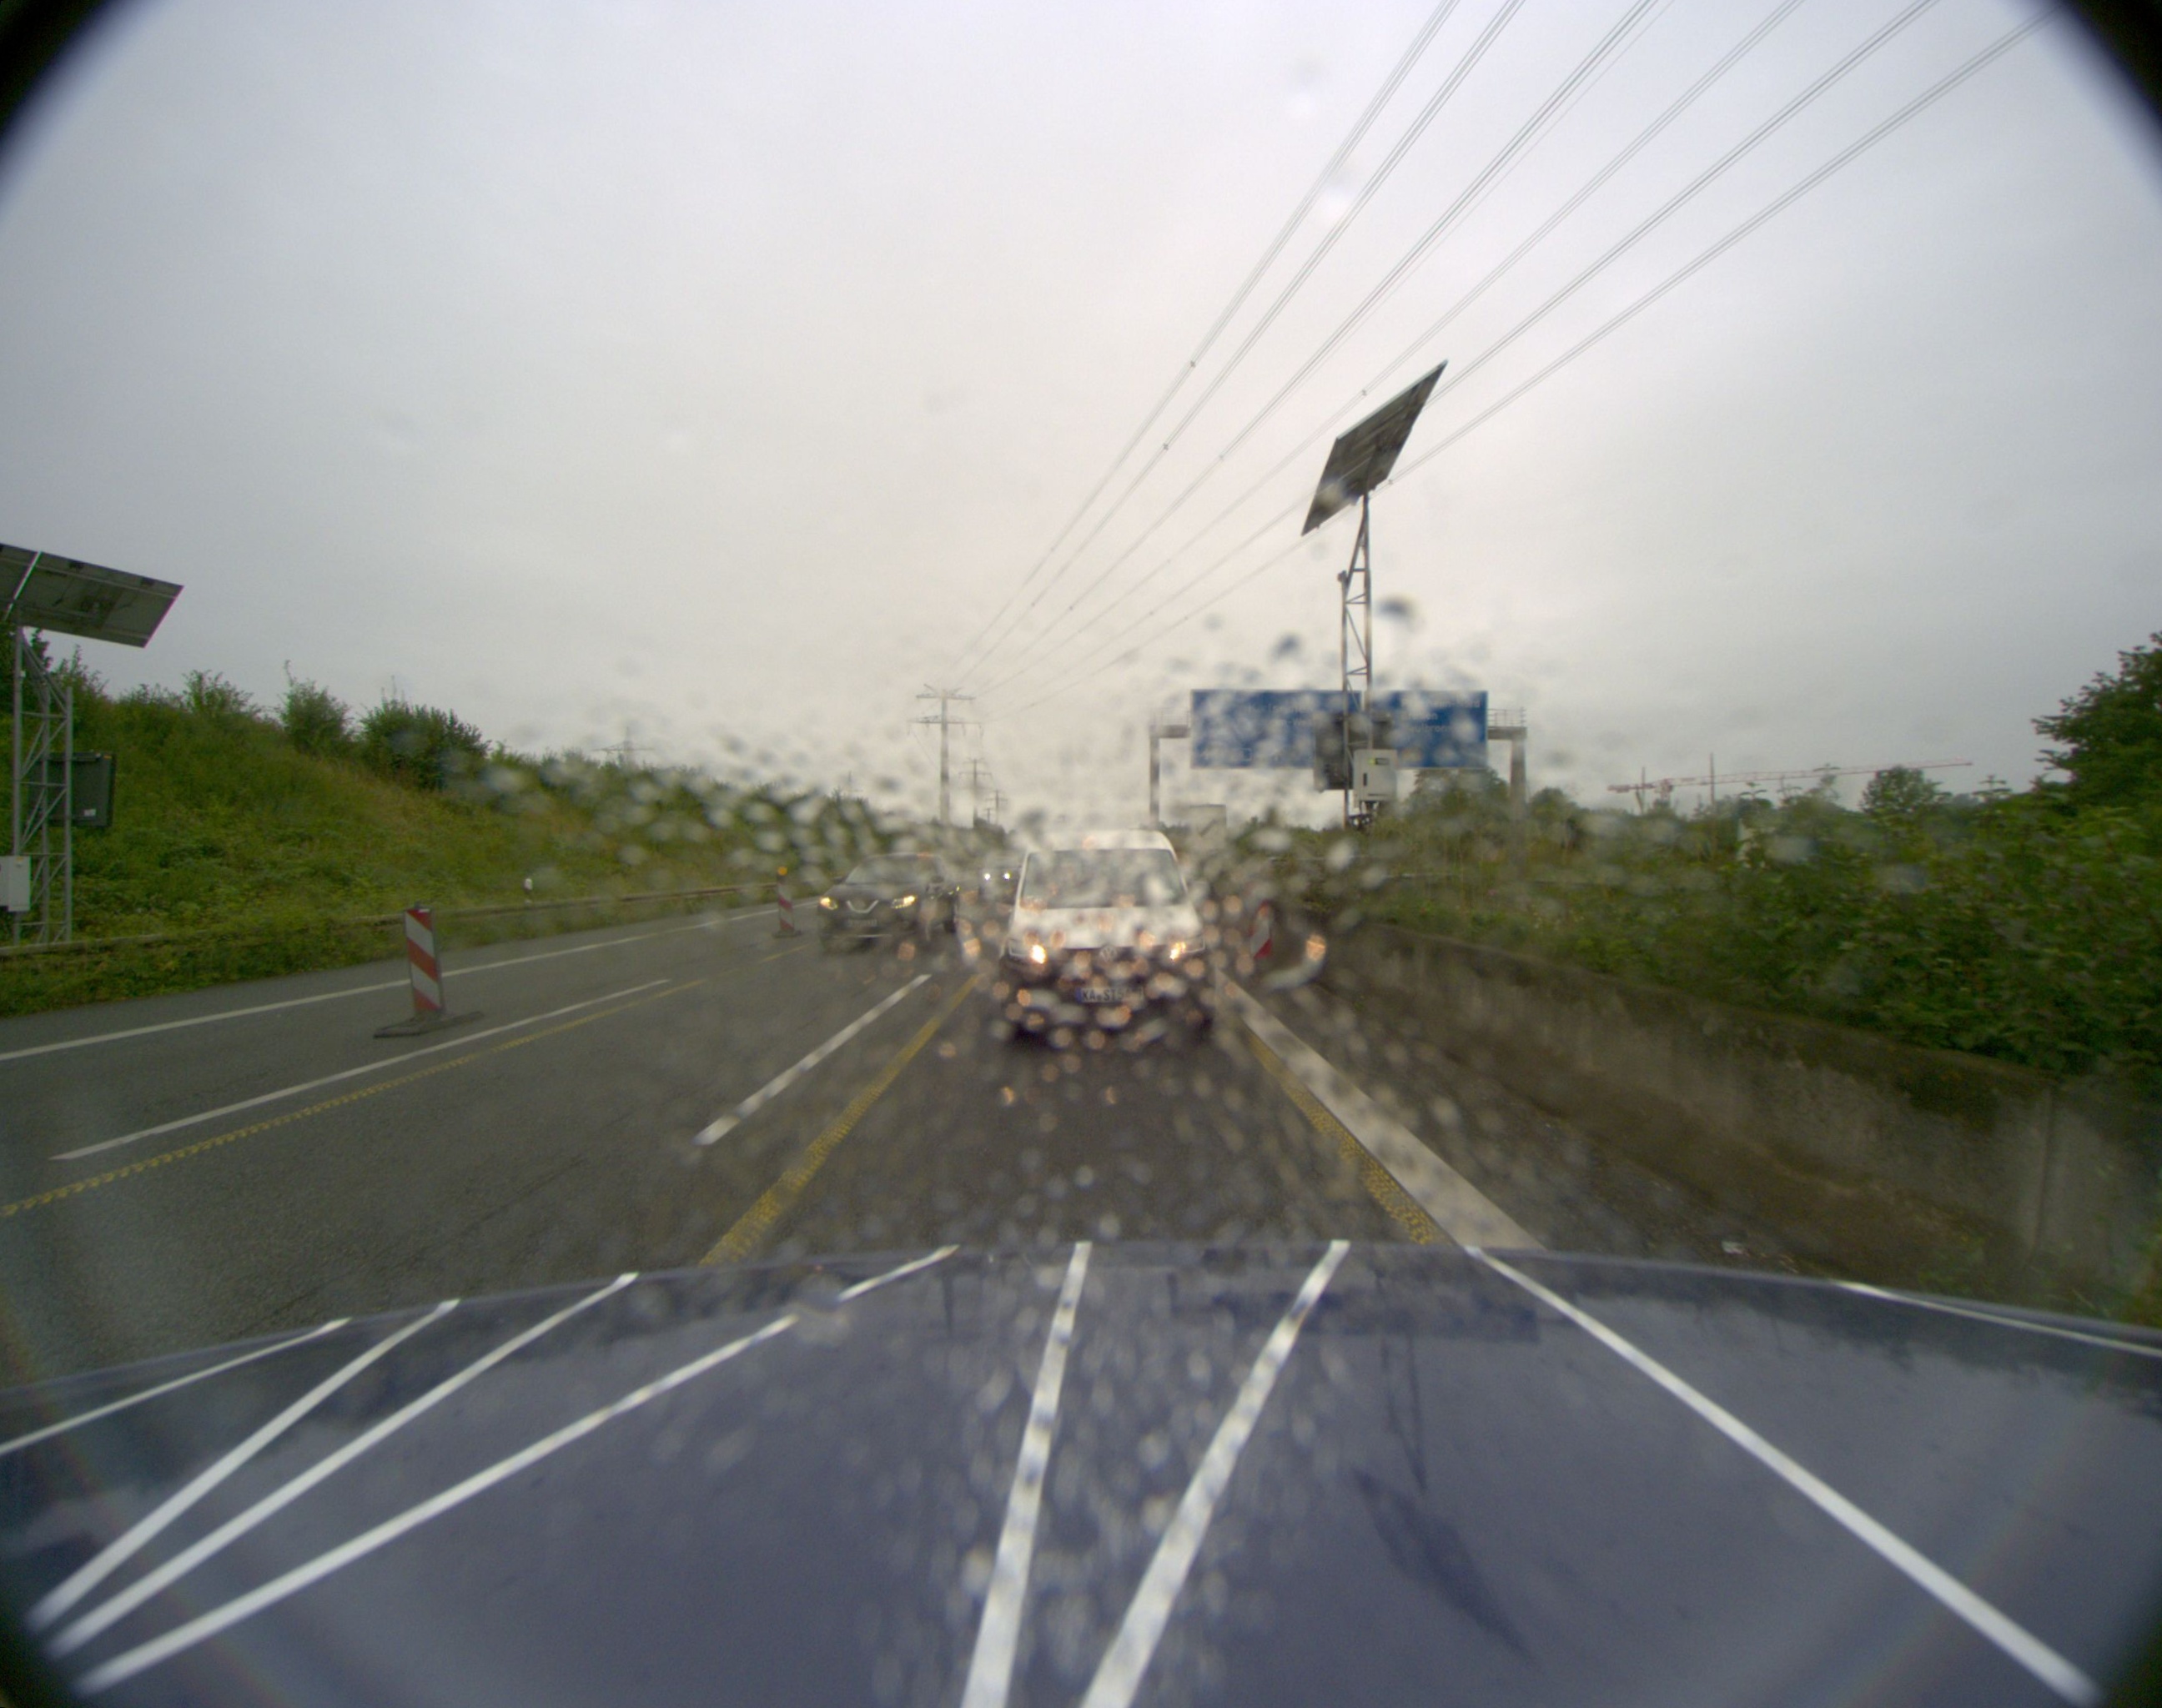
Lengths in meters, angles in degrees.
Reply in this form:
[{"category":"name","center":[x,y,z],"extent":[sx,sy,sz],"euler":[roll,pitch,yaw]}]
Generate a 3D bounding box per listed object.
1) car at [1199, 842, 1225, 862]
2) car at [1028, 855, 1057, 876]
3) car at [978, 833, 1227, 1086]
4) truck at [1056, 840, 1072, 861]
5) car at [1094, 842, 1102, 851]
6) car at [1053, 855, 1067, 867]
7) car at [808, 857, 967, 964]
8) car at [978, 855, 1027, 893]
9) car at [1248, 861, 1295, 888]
[{"category":"car","center":[15.827,-0.244,92.111],"extent":[2.185,2.252,5.203],"euler":[-2,0,0]},{"category":"car","center":[-2.695,0.786,53.932],"extent":[1.804,1.432,4.149],"euler":[-2,0,-1]},{"category":"car","center":[0.177,0.761,7.710],"extent":[1.768,1.803,4.345],"euler":[-2,0,0]},{"category":"truck","center":[-3.513,-0.710,155.320],"extent":[2.875,4.007,8.308],"euler":[-1,0,1]},{"category":"car","center":[4.136,-1.879,181.647],"extent":[1.785,2.002,4.000],"euler":[-2,1,1]},{"category":"car","center":[-2.737,0.920,100.834],"extent":[1.804,1.598,4.149],"euler":[-2,0,-1]},{"category":"car","center":[-3.423,0.913,14.301],"extent":[1.688,1.649,4.281],"euler":[-1,0,2]},{"category":"car","center":[-3.504,0.858,34.430],"extent":[1.804,1.523,4.149],"euler":[-2,0,-1]},{"category":"car","center":[12.196,1.286,48.860],"extent":[1.998,1.518,4.000],"euler":[-2,0,0]}]
